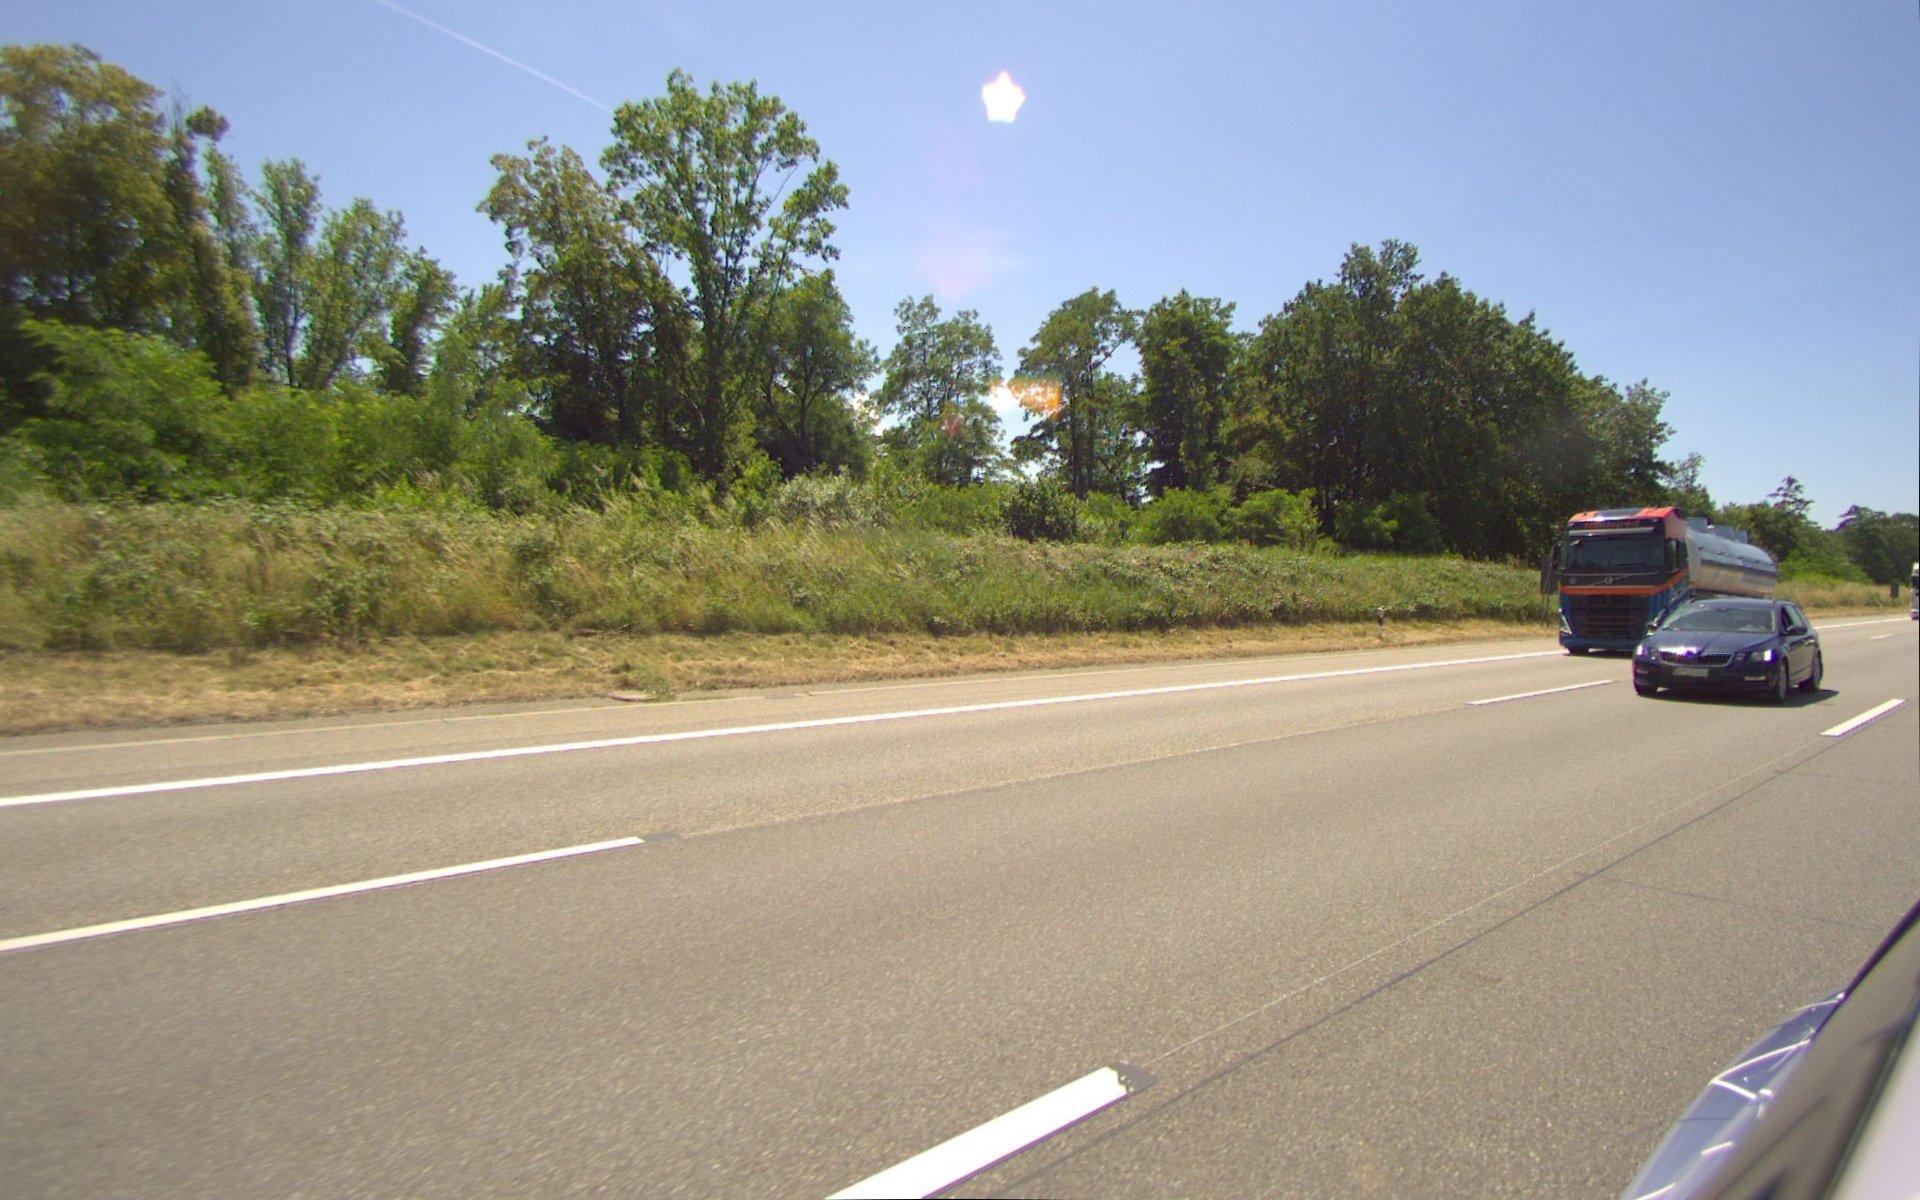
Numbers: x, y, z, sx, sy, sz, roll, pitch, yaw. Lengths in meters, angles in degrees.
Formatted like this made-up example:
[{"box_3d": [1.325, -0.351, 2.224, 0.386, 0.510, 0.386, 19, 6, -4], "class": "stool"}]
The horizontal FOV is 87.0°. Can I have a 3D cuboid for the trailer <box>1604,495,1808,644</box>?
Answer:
[{"box_3d": [22.767, -0.813, 30.503, 11.346, 3.781, 2.533, 0, 0, -41], "class": "trailer"}]

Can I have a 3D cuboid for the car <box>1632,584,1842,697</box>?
[{"box_3d": [12.013, 0.527, 15.544, 4.198, 1.502, 1.804, 0, 0, -42], "class": "car"}]

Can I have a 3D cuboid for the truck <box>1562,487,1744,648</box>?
[{"box_3d": [18.325, -0.782, 26.637, 5.992, 3.781, 2.533, 0, 0, -41], "class": "truck"}]
